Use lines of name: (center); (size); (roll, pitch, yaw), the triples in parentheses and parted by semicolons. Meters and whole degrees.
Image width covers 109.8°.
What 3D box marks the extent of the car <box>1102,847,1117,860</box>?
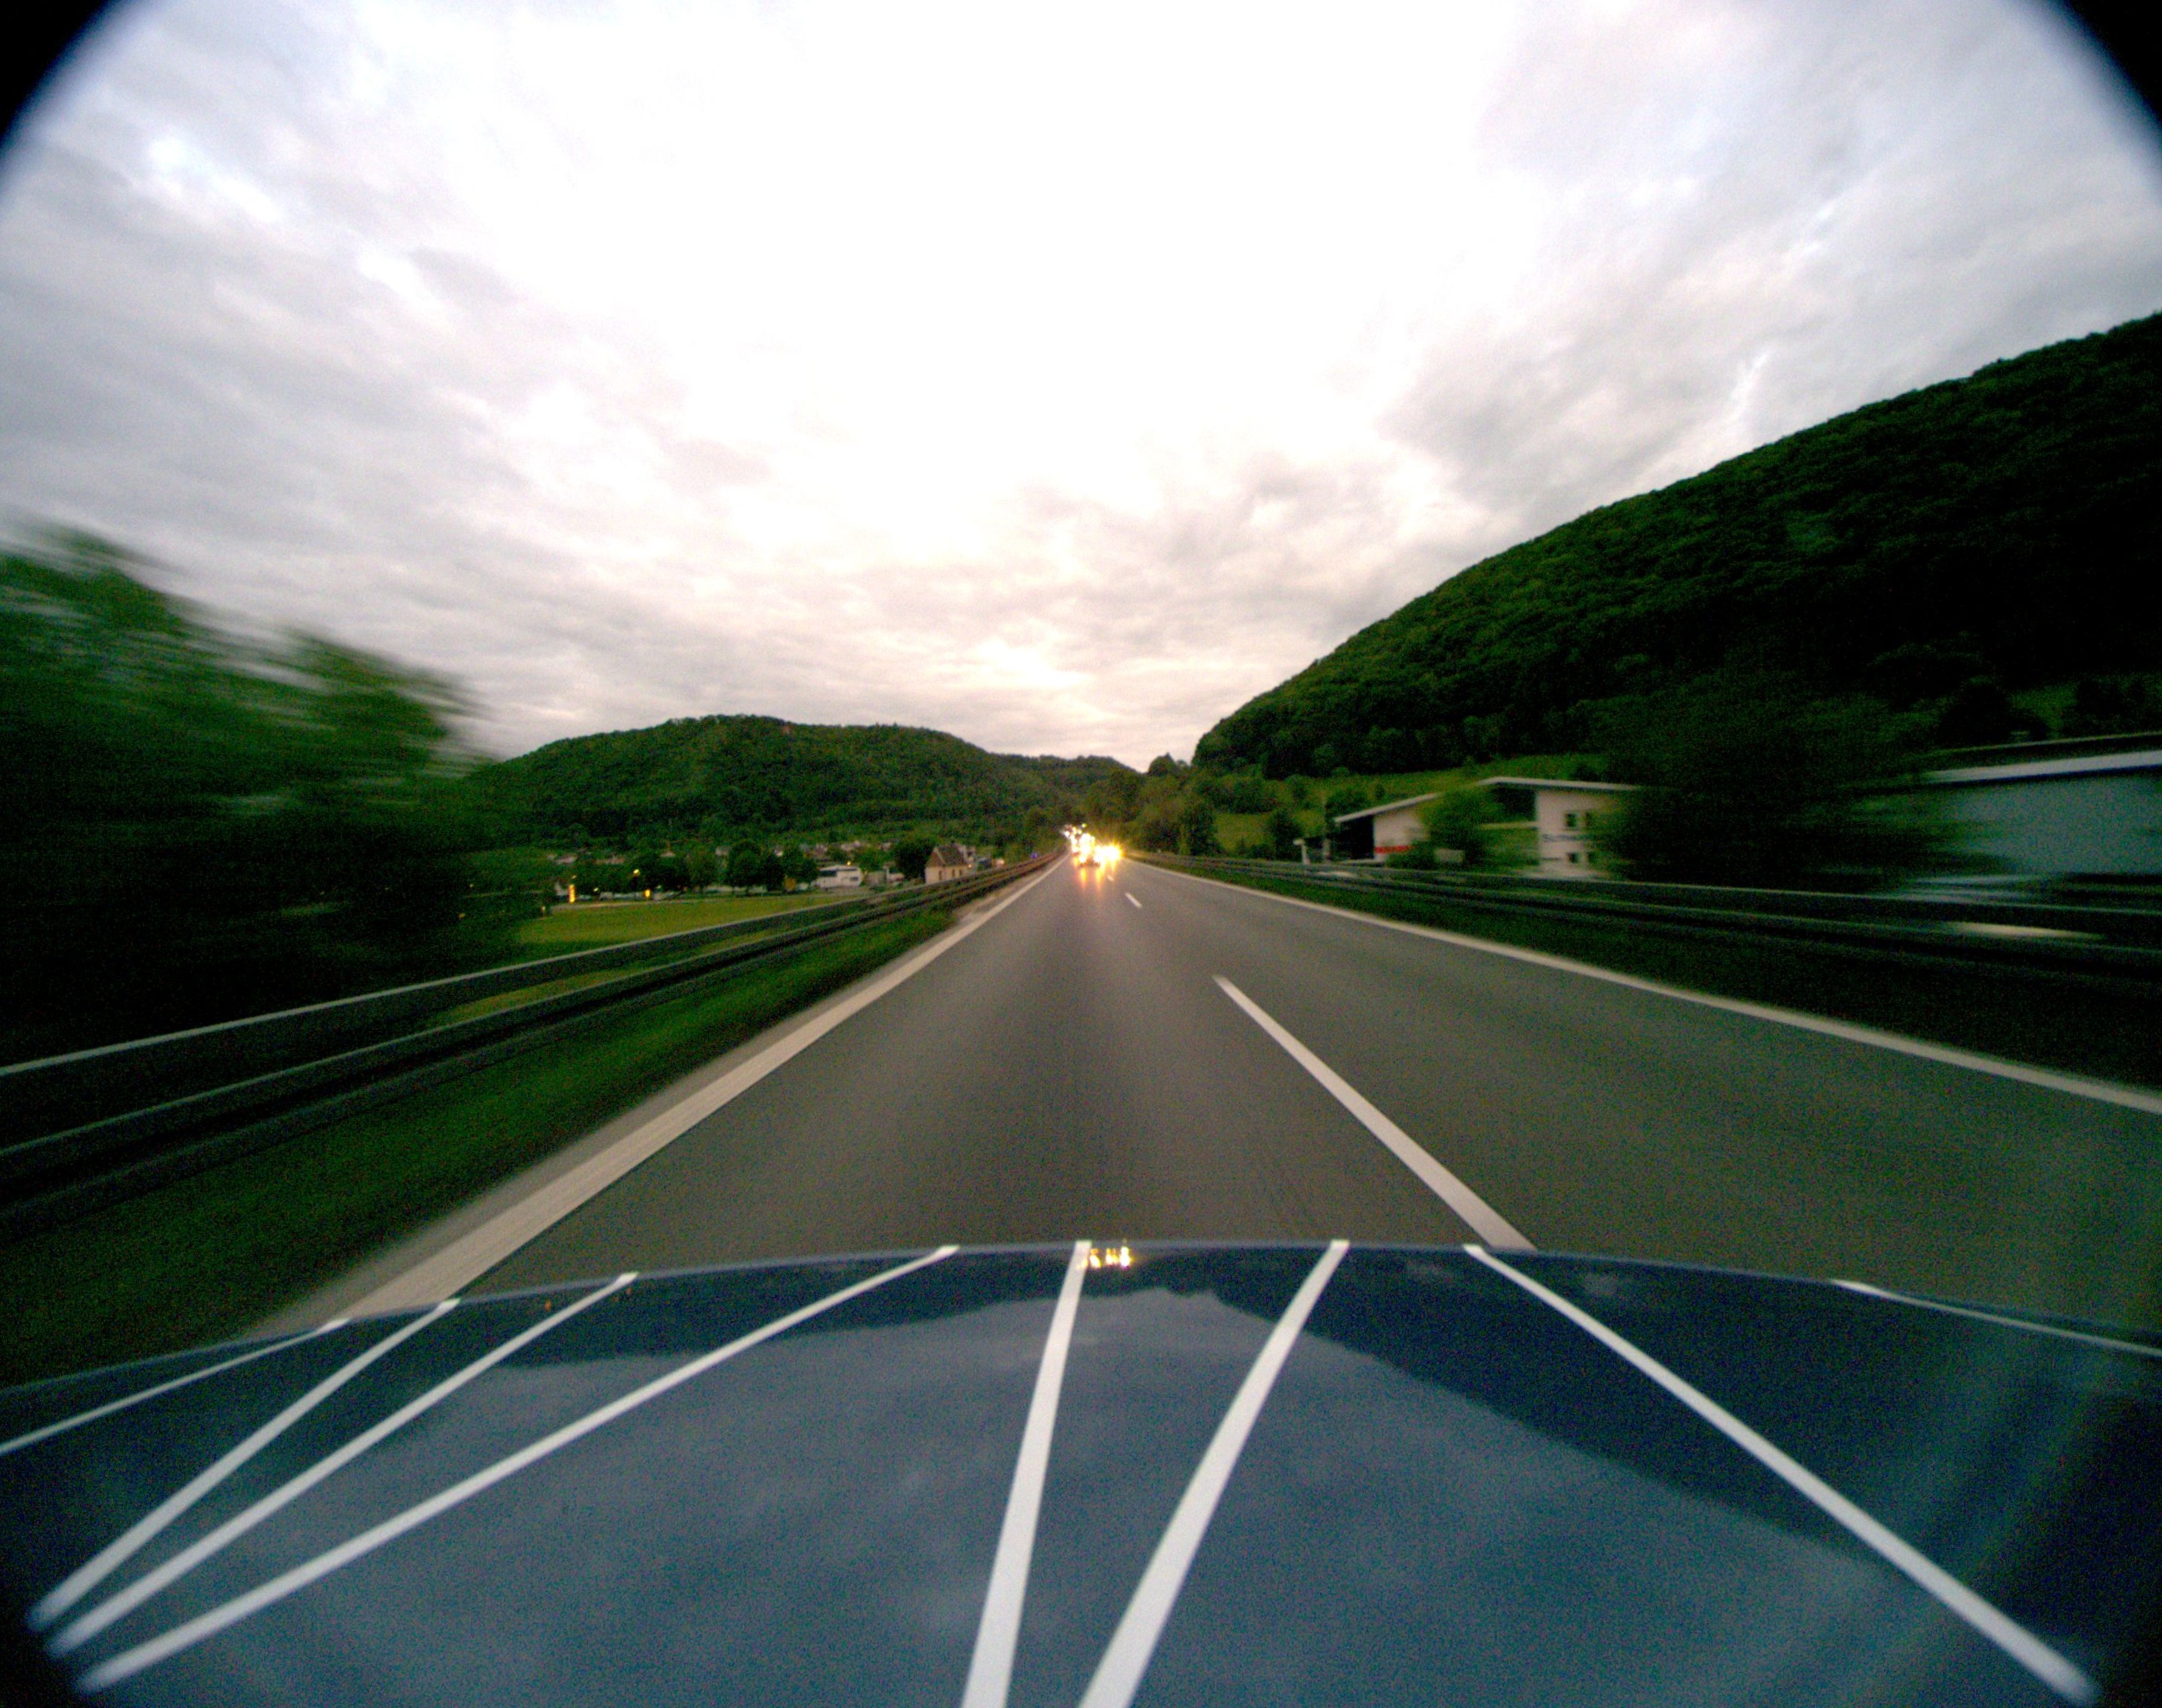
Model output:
car: (3.746, -0.056, 100.745); (1.690, 1.459, 3.769); (-1, -2, -1)

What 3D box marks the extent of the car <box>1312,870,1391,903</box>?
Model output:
car: (15.765, 1.900, 44.423); (3.995, 1.683, 1.773); (-2, 2, 5)

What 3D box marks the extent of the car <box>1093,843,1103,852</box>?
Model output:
car: (2.924, -1.116, 134.420); (1.690, 1.424, 3.670); (-1, -2, 0)

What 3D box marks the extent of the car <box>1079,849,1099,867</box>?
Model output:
car: (0.696, 0.379, 69.001); (1.690, 1.442, 3.670); (-1, -2, 0)

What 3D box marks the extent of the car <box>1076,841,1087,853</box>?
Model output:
car: (0.086, -1.078, 120.153); (1.737, 1.640, 3.670); (-1, -2, 0)
